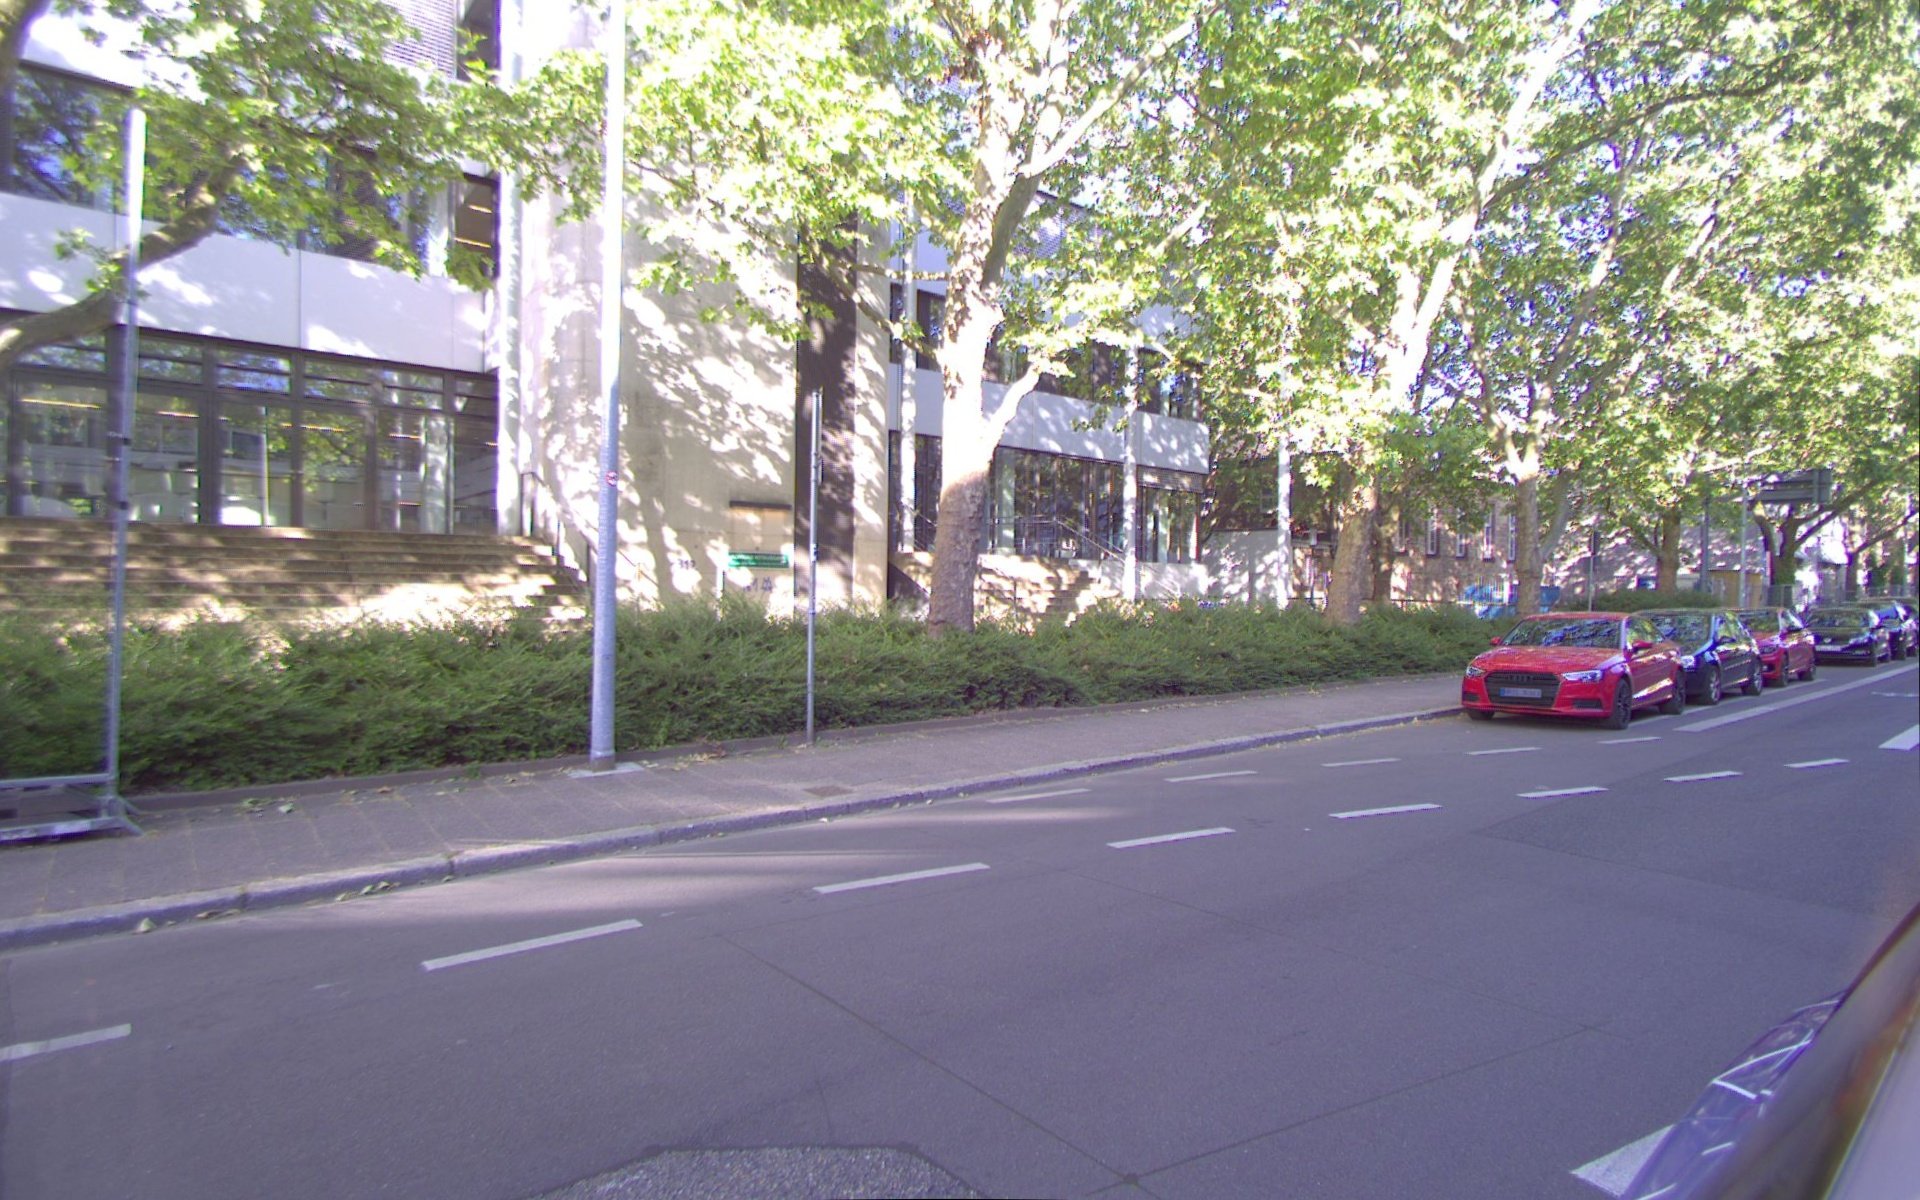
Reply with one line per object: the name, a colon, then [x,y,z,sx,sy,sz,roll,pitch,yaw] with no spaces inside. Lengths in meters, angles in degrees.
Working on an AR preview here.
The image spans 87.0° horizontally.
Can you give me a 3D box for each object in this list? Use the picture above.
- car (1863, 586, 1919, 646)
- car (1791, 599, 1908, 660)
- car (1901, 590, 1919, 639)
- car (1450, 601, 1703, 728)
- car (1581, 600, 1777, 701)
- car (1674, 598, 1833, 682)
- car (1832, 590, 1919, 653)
car: [30.965,0.490,32.972,4.370,1.843,1.753,0,-1,-41]
car: [22.941,0.720,26.068,3.841,1.451,1.753,0,-1,-41]
car: [36.188,0.520,37.269,4.370,1.750,1.753,0,-1,-41]
car: [8.270,0.744,13.447,3.930,1.427,1.753,0,-1,-41]
car: [11.845,0.742,16.592,3.841,1.451,1.753,0,-1,-41]
car: [15.697,0.724,19.969,3.841,1.486,1.753,0,-1,-41]
car: [26.708,0.589,29.181,4.101,1.674,1.753,0,-1,-41]
